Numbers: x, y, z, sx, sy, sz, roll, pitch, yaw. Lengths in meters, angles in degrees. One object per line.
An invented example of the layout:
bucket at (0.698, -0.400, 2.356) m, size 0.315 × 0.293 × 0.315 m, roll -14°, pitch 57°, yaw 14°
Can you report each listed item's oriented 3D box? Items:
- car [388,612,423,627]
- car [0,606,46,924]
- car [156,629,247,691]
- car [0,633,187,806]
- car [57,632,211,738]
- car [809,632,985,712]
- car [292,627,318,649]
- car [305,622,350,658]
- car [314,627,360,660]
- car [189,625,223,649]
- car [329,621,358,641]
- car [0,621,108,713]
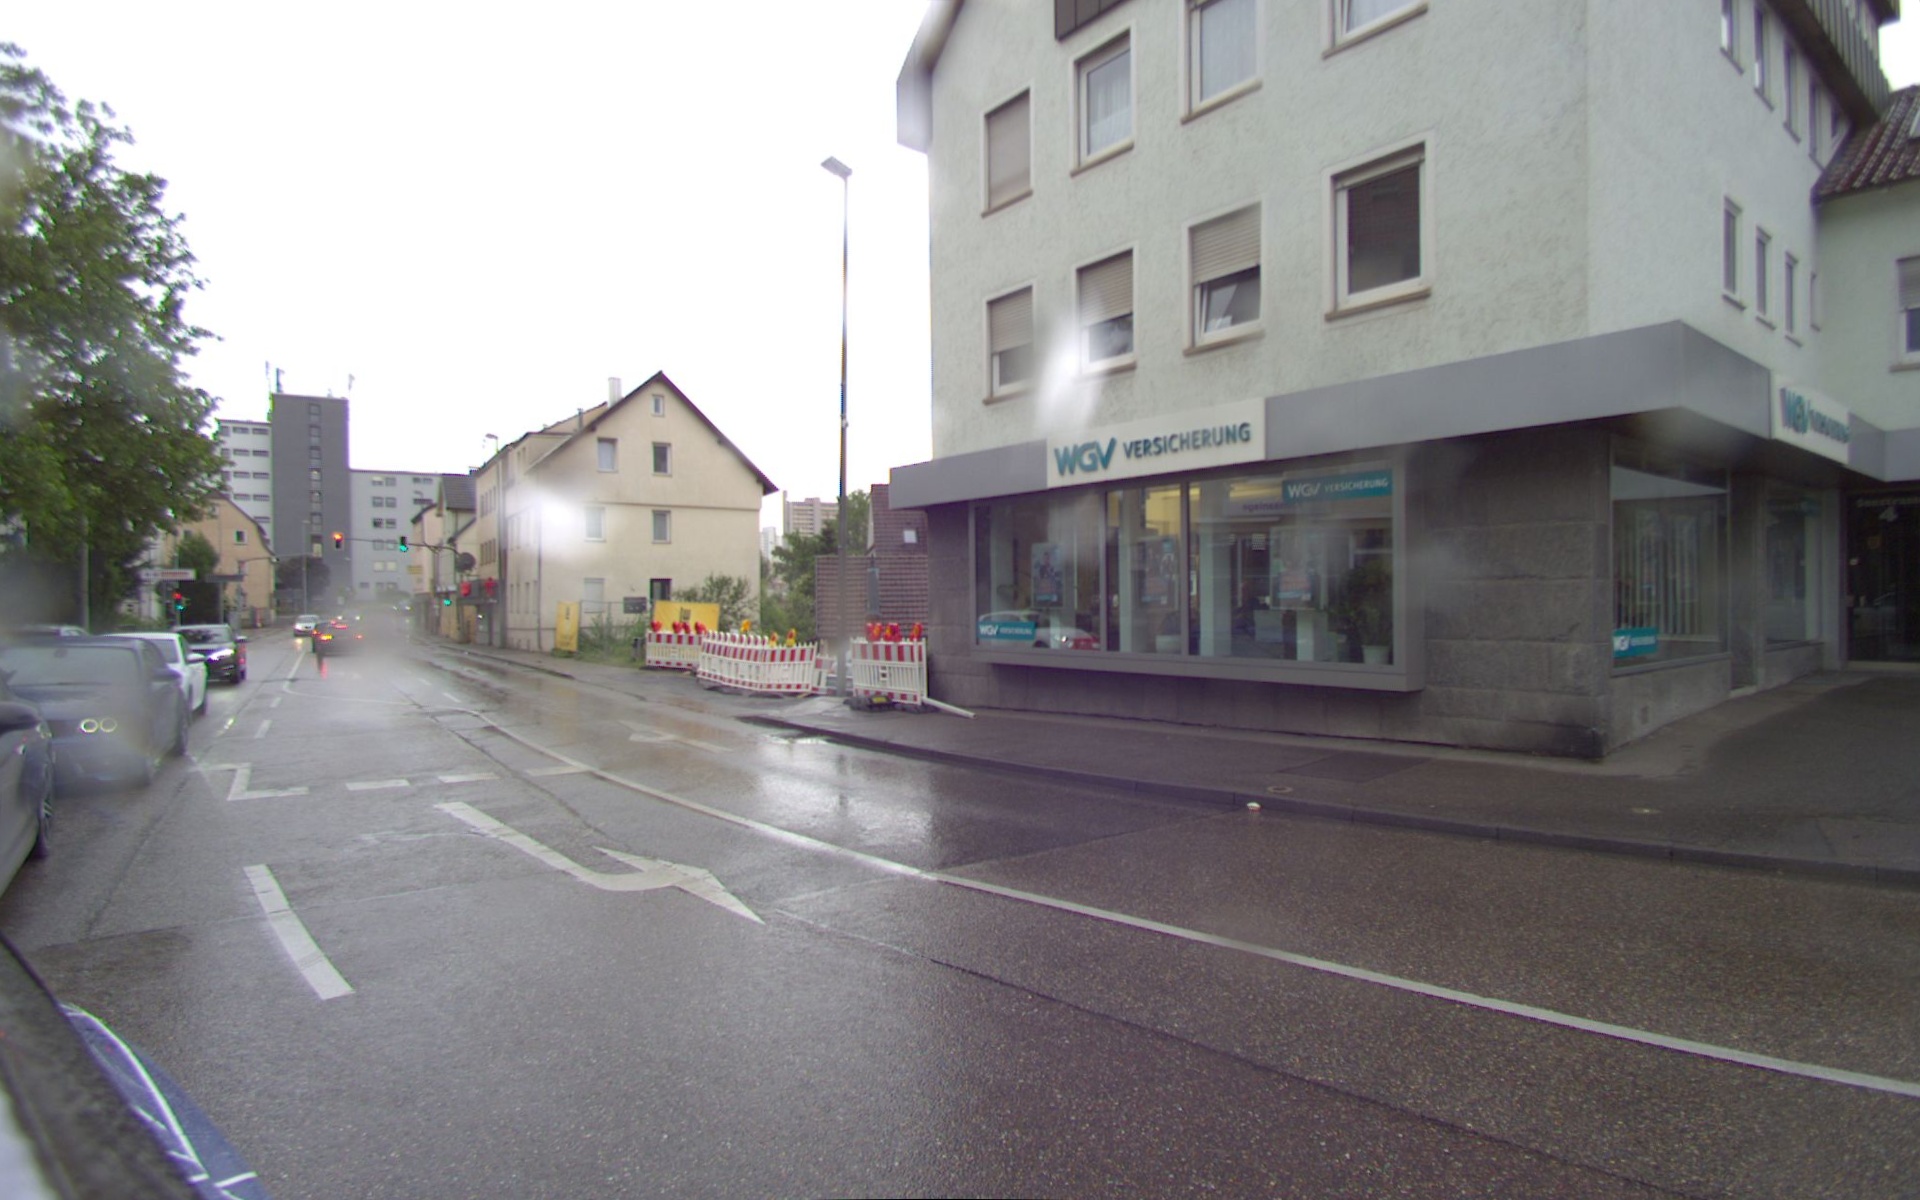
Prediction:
car at (-63.997, 2.249, 116.872) m, size 1.770 × 1.577 × 3.832 m, roll -2°, pitch -1°, yaw 3°
car at (-5.670, 0.843, 4.705) m, size 1.792 × 1.583 × 4.284 m, roll -1°, pitch -1°, yaw -38°
car at (-20.372, 1.556, 27.291) m, size 1.659 × 1.472 × 4.011 m, roll -1°, pitch -1°, yaw -33°
car at (-9.012, 1.063, 10.194) m, size 1.615 × 1.443 × 3.816 m, roll 1°, pitch -2°, yaw -33°
car at (-13.297, 1.272, 16.484) m, size 1.660 × 1.432 × 4.010 m, roll -1°, pitch -1°, yaw -35°
car at (-1.307, 1.602, 21.804) m, size 3.456 × 1.401 × 1.653 m, roll 10°, pitch -10°, yaw -41°
car at (-49.237, 2.817, 76.129) m, size 1.589 × 1.515 × 3.728 m, roll -2°, pitch 0°, yaw -33°
car at (-32.049, 2.025, 51.249) m, size 1.791 × 1.657 × 4.287 m, roll -1°, pitch -1°, yaw -34°
car at (-28.308, 1.952, 45.941) m, size 1.684 × 1.394 × 3.679 m, roll -1°, pitch -1°, yaw -33°
car at (-56.174, 2.762, 75.427) m, size 1.791 × 1.657 × 4.287 m, roll -1°, pitch -1°, yaw -34°
car at (-59.004, 2.950, 96.968) m, size 1.763 × 1.866 × 3.848 m, roll -1°, pitch -1°, yaw -22°
car at (-20.105, 1.371, 21.754) m, size 1.904 × 1.794 × 4.748 m, roll 0°, pitch -2°, yaw -30°
